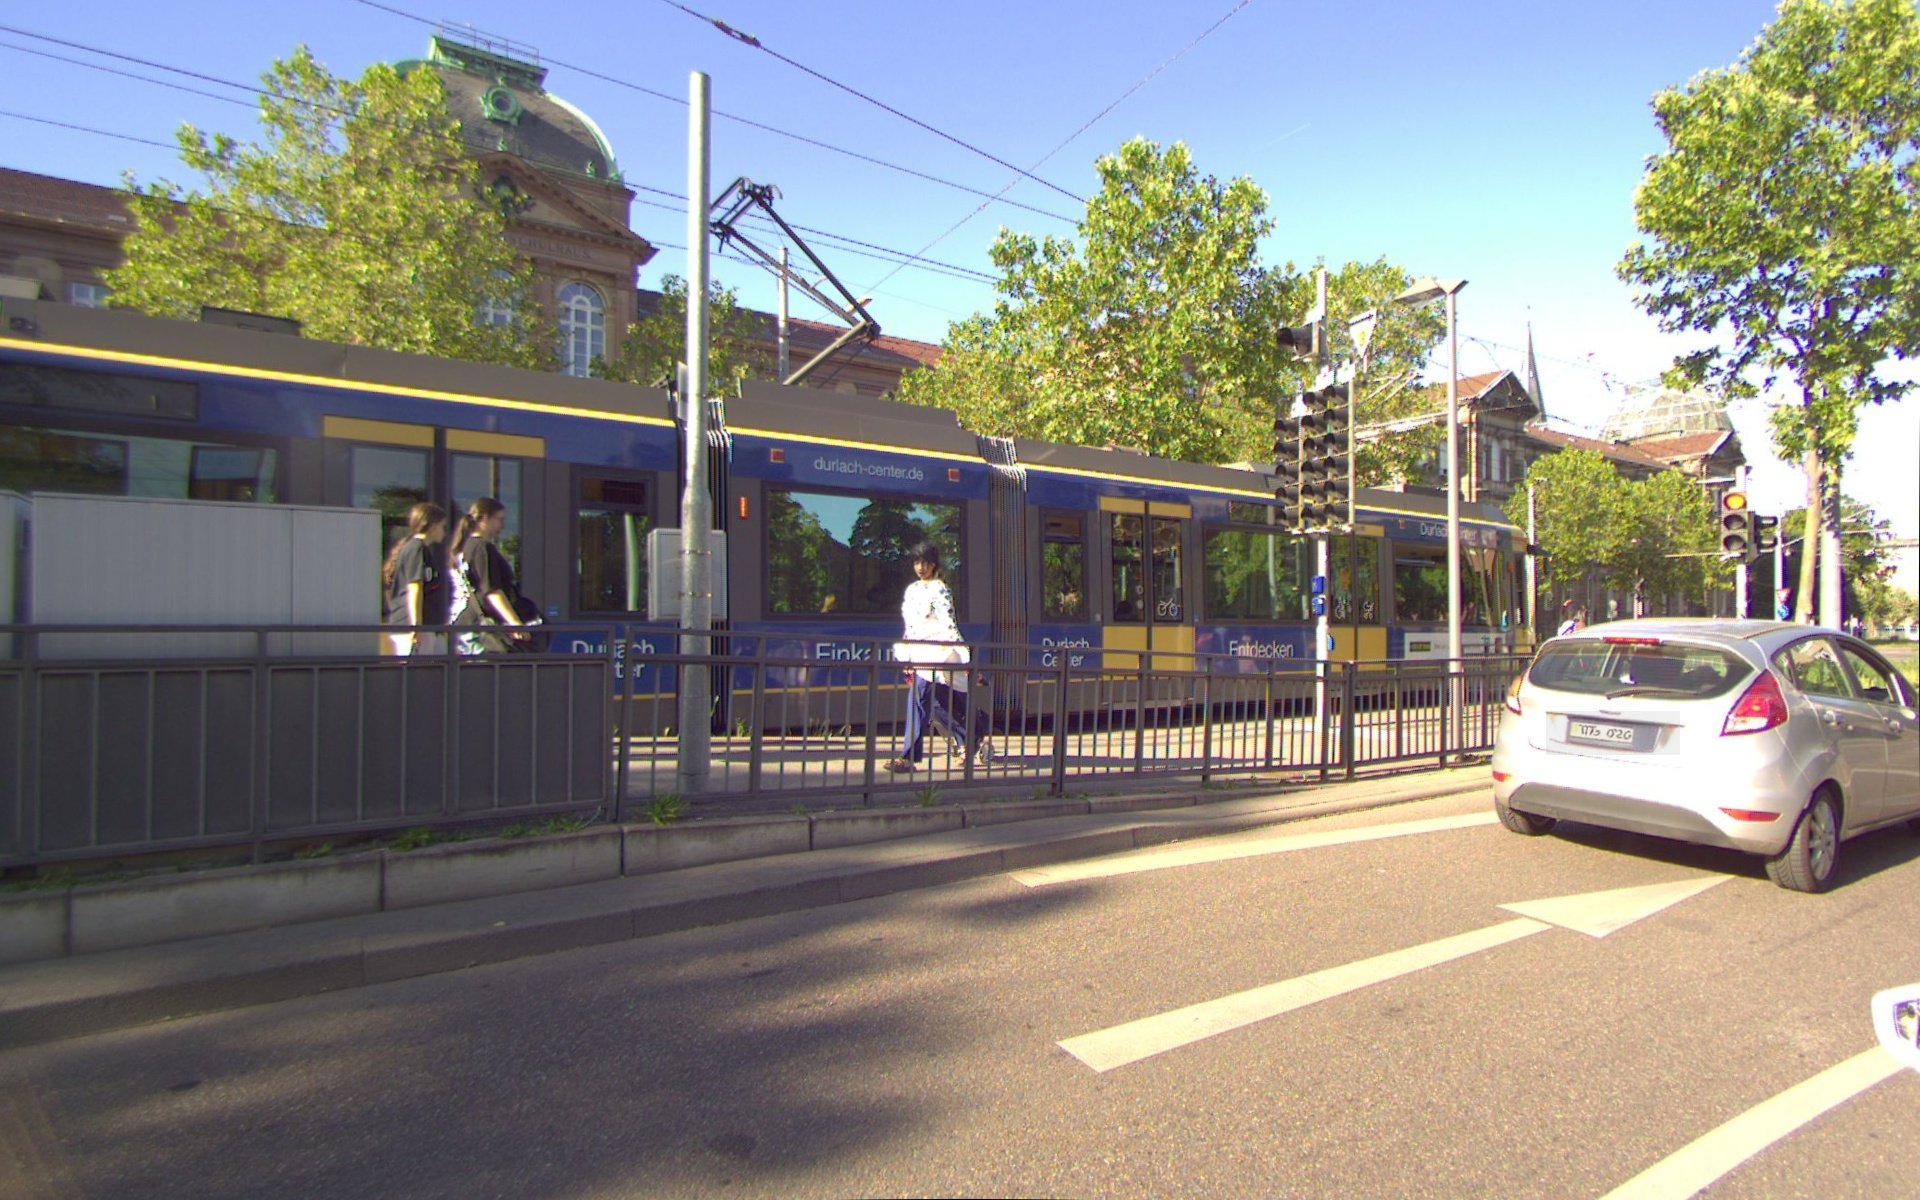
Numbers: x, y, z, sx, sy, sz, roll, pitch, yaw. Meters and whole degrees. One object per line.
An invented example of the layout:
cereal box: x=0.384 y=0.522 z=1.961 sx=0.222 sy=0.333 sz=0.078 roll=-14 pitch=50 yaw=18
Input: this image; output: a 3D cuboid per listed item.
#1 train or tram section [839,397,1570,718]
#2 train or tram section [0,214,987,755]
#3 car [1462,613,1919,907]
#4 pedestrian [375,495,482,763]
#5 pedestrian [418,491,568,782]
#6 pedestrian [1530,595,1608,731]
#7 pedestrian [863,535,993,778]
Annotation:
train or tram section: x=4.640 y=-0.222 z=15.265 sx=12.982 sy=3.303 sz=2.895 roll=3 pitch=0 yaw=-35
train or tram section: x=-7.060 y=-0.742 z=7.082 sx=15.730 sy=3.303 sz=2.896 roll=3 pitch=0 yaw=-34
car: x=5.136 y=0.844 z=6.634 sx=3.592 sy=1.428 sz=1.651 roll=2 pitch=0 yaw=-33
pedestrian: x=-3.643 y=0.198 z=6.881 sx=0.541 sy=1.724 sz=0.604 roll=1 pitch=-2 yaw=-37
pedestrian: x=-2.991 y=0.226 z=6.430 sx=0.740 sy=1.724 sz=0.628 roll=1 pitch=-2 yaw=-38
pedestrian: x=7.352 y=0.747 z=12.133 sx=0.641 sy=1.577 sz=0.626 roll=1 pitch=-1 yaw=-38
pedestrian: x=-0.232 y=0.401 z=7.239 sx=0.635 sy=1.640 sz=0.635 roll=4 pitch=-3 yaw=-37
